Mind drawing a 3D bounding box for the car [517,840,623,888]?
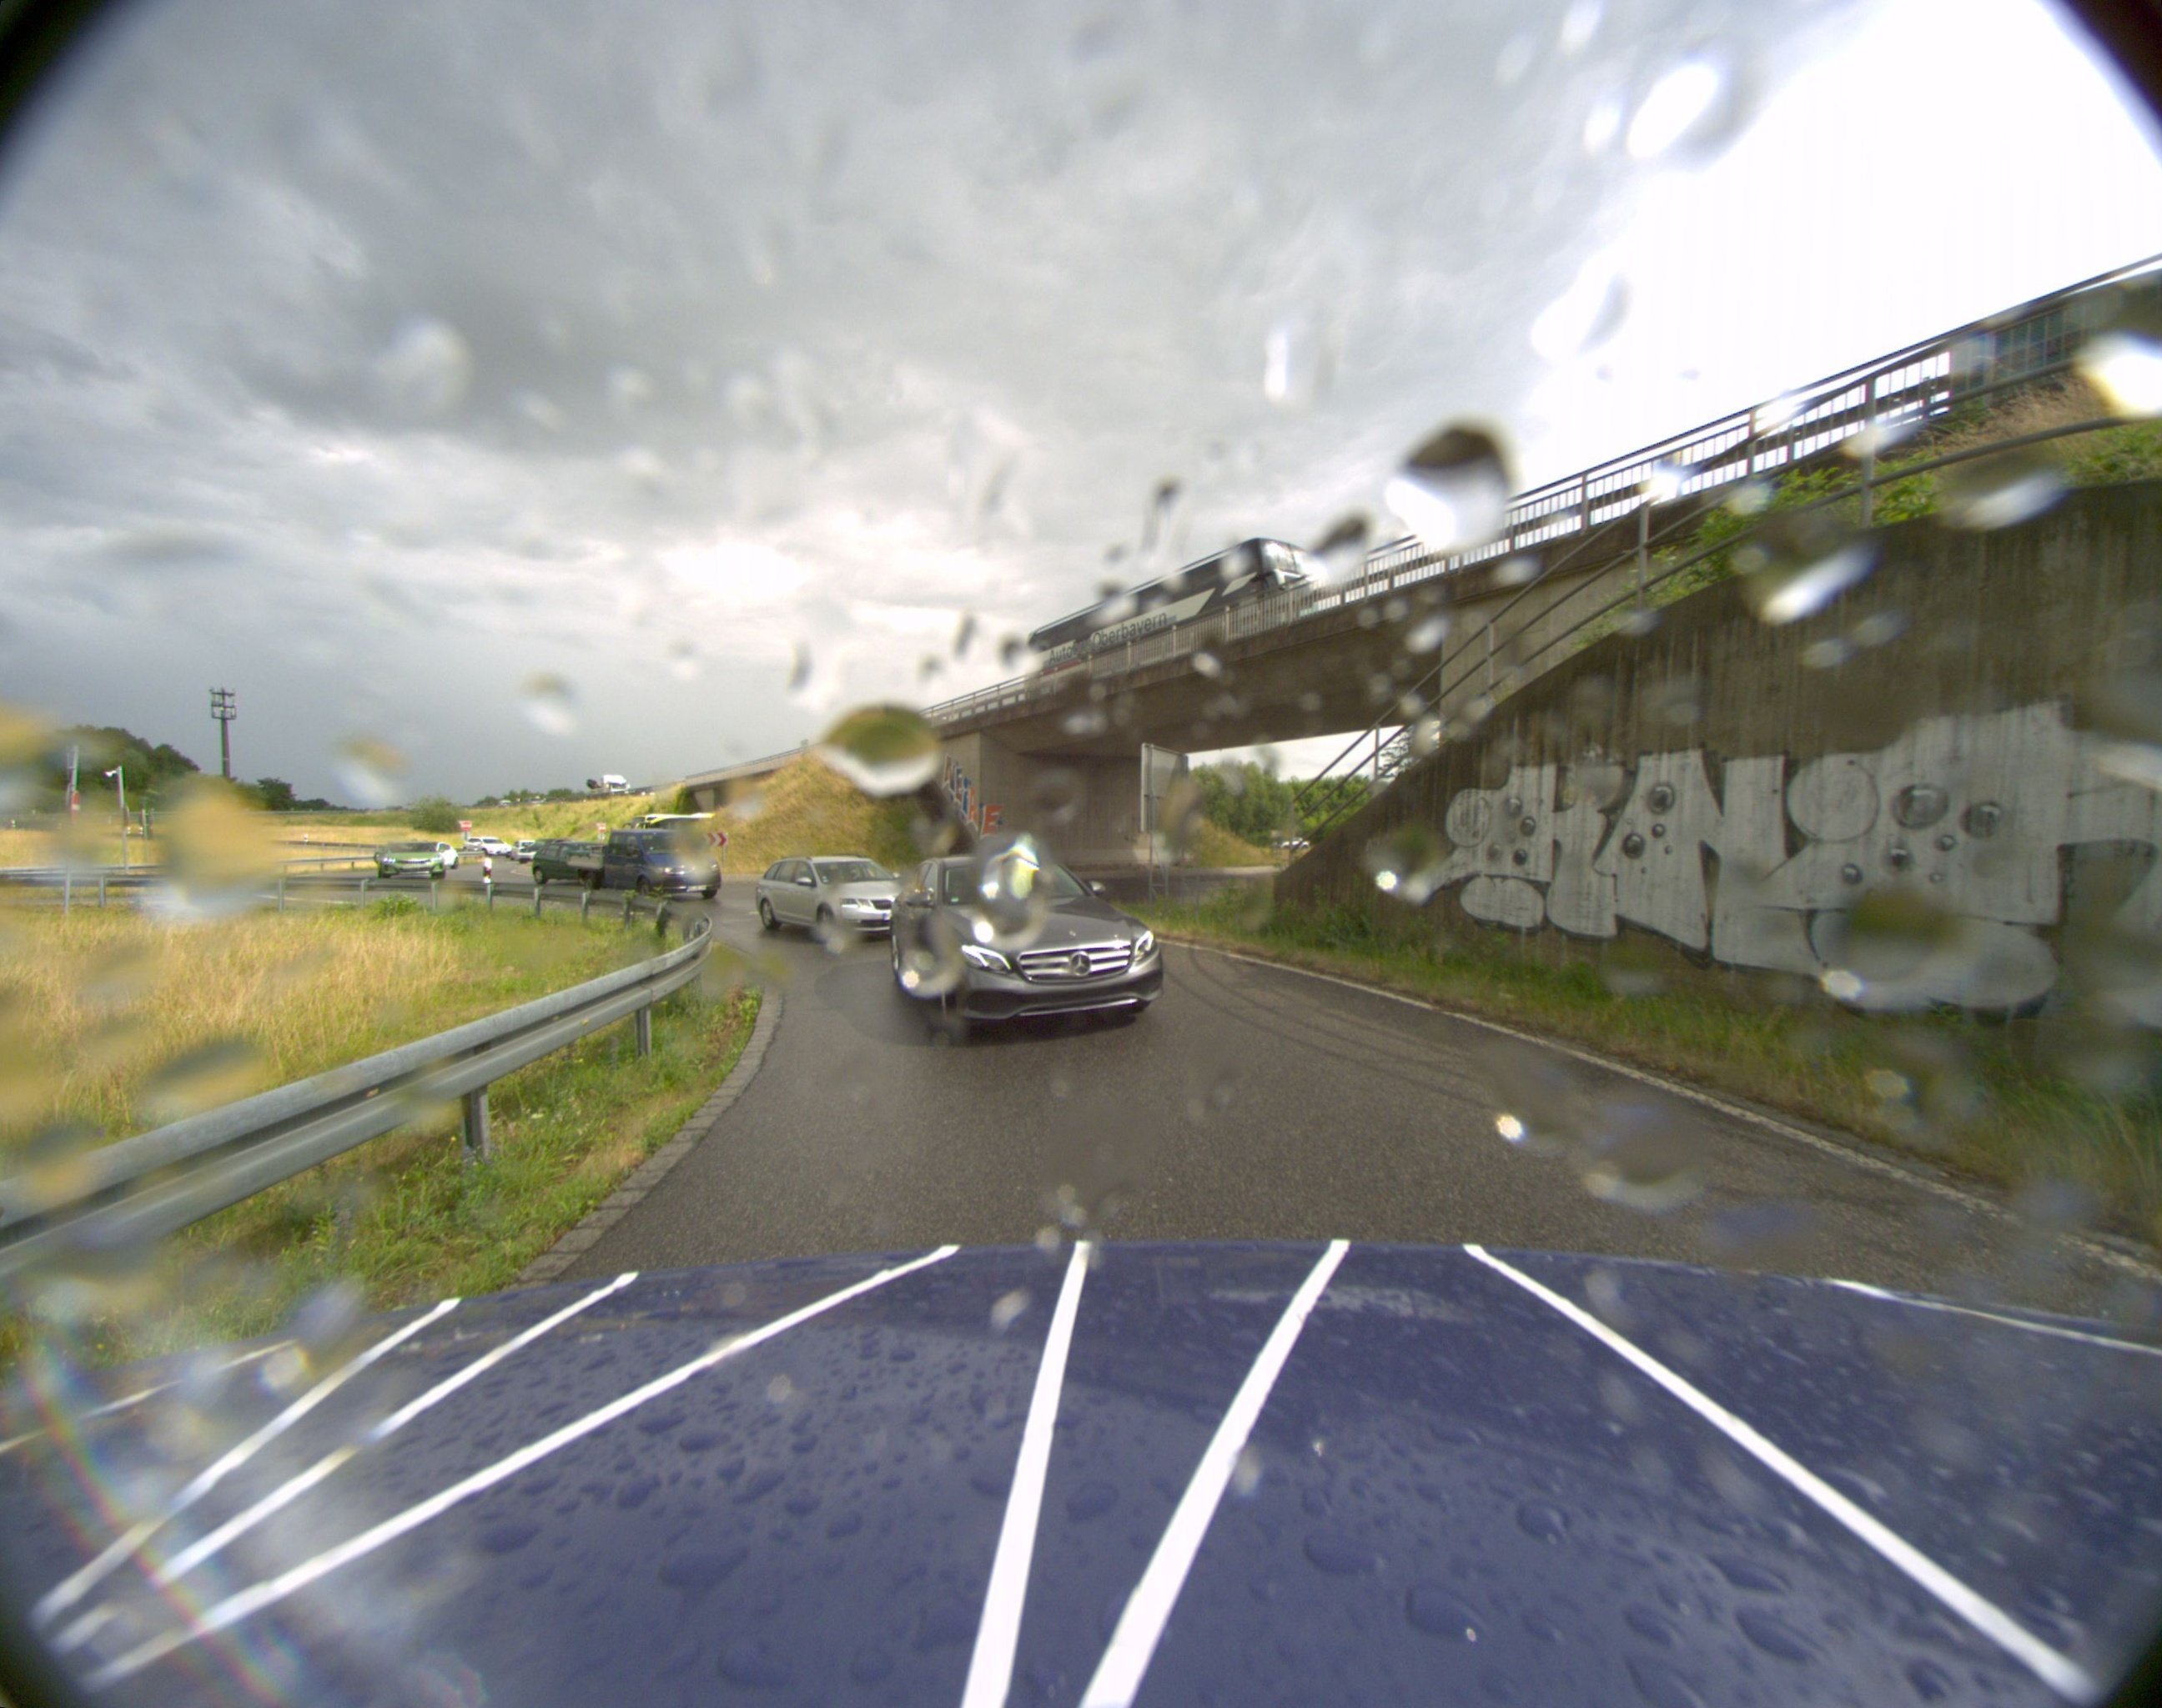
[{"bbox_3d":[-17.558,0.284,26.073,3.834,1.466,1.660,2,3,34],"label":"car"}]

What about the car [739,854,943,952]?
[{"bbox_3d":[-4.590,0.778,14.141,1.801,1.391,4.336,-4,4,-44],"label":"car"}]

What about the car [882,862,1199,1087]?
[{"bbox_3d":[-0.774,0.845,7.620,1.773,1.383,4.582,-2,1,-22],"label":"car"}]

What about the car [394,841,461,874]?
[{"bbox_3d":[-31.894,0.131,37.179,1.621,1.466,3.920,-1,2,-28],"label":"car"}]

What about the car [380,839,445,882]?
[{"bbox_3d":[-26.029,0.200,29.537,1.622,1.466,3.834,-2,3,-45],"label":"car"}]

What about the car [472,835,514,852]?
[{"bbox_3d":[-46.750,-0.862,60.429,3.762,1.283,1.715,2,3,37],"label":"car"}]

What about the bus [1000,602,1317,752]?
[{"bbox_3d":[1.803,-5.856,27.963,2.617,3.063,14.420,-3,4,-36],"label":"bus"}]

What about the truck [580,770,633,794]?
[{"bbox_3d":[-70.425,-10.628,112.723,9.251,3.177,3.166,2,4,35],"label":"truck"}]

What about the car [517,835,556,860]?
[{"bbox_3d":[-34.506,-0.446,48.105,1.622,1.466,3.918,-1,2,-41],"label":"car"}]

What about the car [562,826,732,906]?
[{"bbox_3d":[-12.351,0.227,21.464,5.664,1.905,1.897,3,3,35],"label":"car"}]
